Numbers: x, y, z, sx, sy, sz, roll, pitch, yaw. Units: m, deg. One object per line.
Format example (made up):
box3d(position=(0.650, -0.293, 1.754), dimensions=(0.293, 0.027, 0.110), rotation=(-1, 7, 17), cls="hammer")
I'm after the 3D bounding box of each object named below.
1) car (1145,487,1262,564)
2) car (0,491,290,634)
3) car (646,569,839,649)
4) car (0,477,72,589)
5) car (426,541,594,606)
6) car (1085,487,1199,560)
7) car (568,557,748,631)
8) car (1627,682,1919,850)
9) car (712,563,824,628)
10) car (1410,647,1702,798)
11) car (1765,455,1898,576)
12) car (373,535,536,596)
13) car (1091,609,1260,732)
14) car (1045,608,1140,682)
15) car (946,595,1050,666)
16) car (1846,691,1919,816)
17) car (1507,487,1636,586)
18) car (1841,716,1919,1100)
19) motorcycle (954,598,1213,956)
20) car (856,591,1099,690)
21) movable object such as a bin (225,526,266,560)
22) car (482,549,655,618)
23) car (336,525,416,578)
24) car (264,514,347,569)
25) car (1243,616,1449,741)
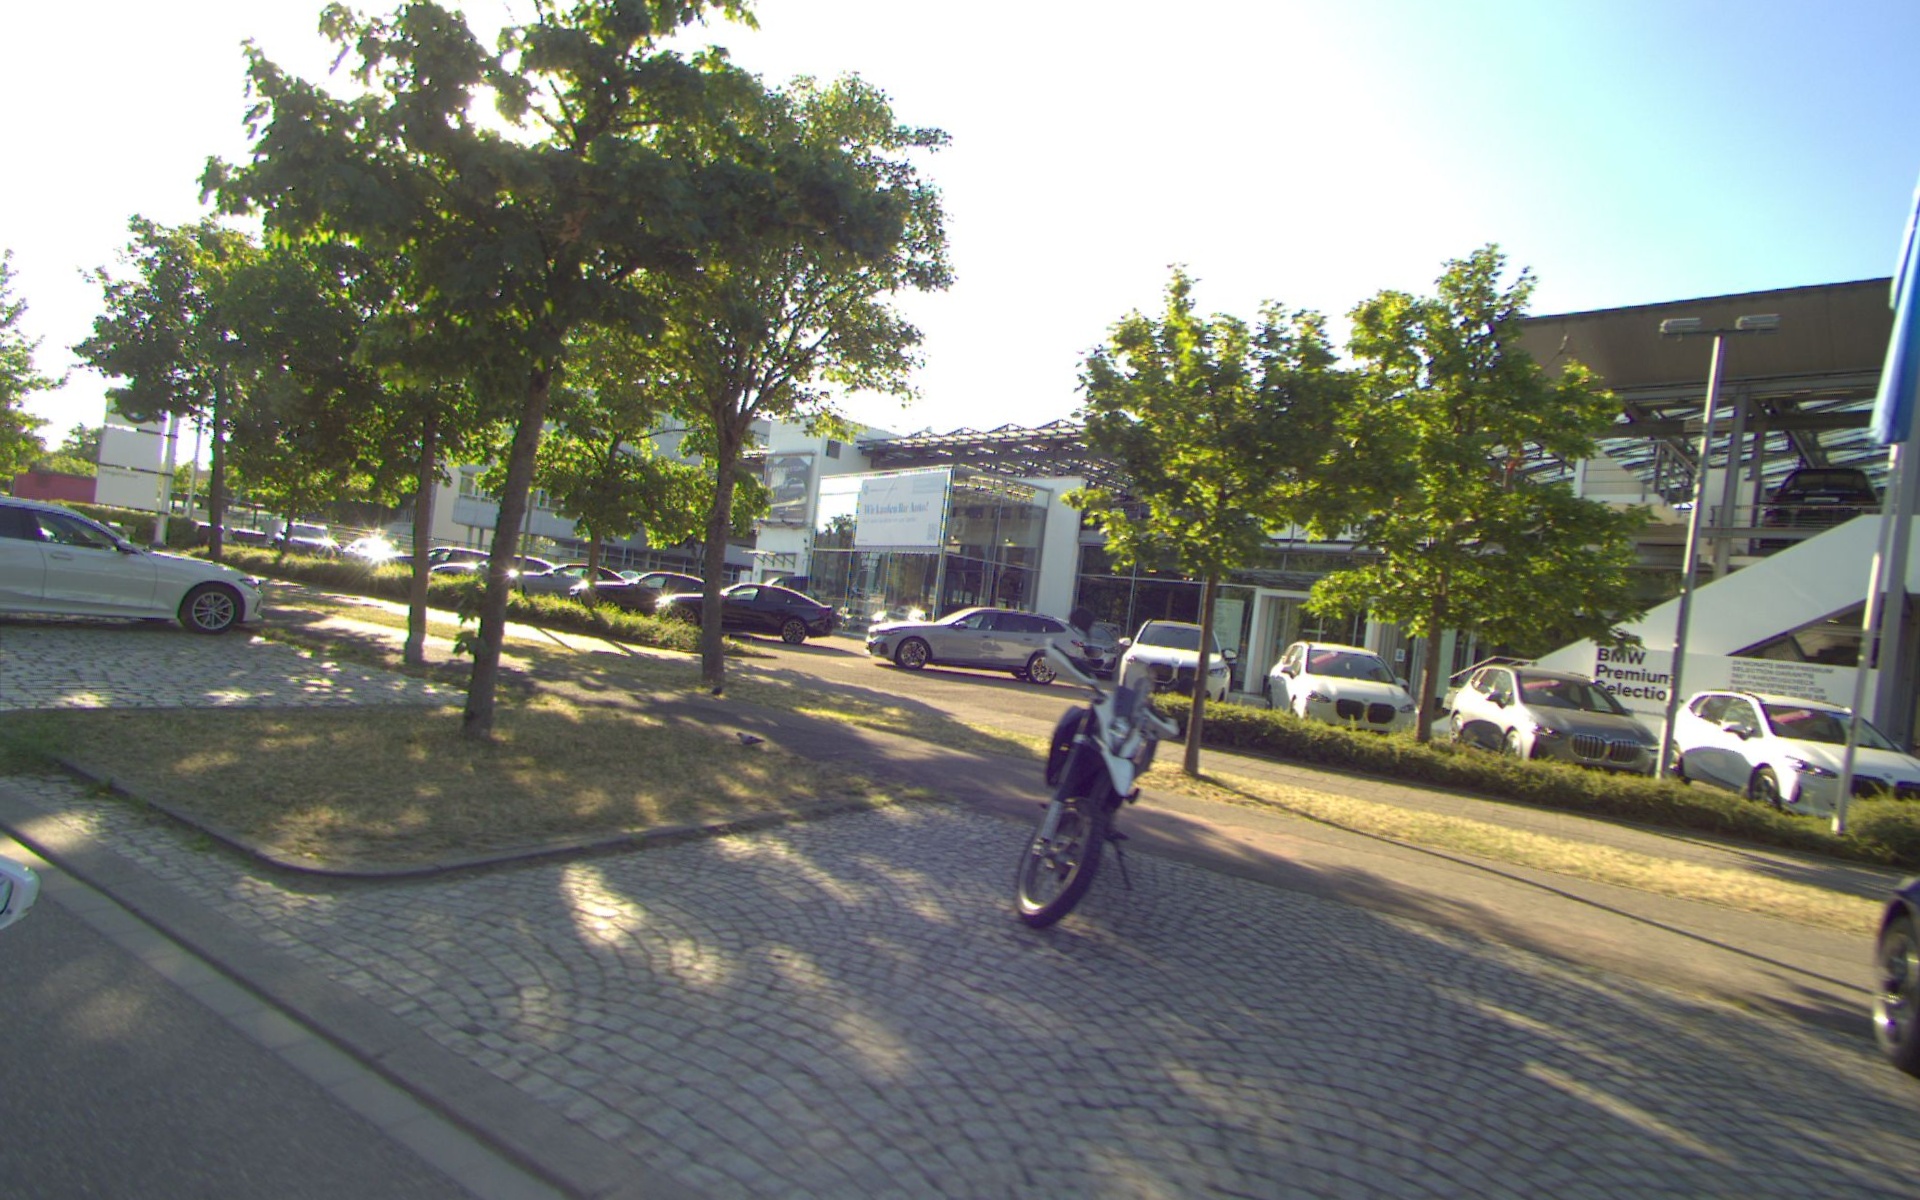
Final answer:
box3d(position=(8.029, -2.417, 33.000), dimensions=(1.764, 1.684, 3.982), rotation=(7, -3, 45), cls="car")
box3d(position=(-11.177, -0.513, 12.142), dimensions=(1.967, 1.498, 4.699), rotation=(7, 0, 31), cls="car")
box3d(position=(-5.722, 0.246, 26.754), dimensions=(4.712, 1.481, 1.995), rotation=(7, 0, -13), cls="car")
box3d(position=(-17.614, -1.385, 16.066), dimensions=(2.158, 1.772, 4.696), rotation=(7, -1, 36), cls="car")
box3d(position=(-14.688, -0.838, 33.154), dimensions=(4.718, 1.481, 2.039), rotation=(7, 0, -17), cls="car")
box3d(position=(6.335, -2.618, 34.784), dimensions=(1.764, 1.684, 3.982), rotation=(7, -3, 45), cls="car")
box3d(position=(-8.677, -0.158, 29.122), dimensions=(4.718, 1.481, 1.993), rotation=(7, 0, -17), cls="car")
box3d(position=(11.502, 2.175, 14.032), dimensions=(1.962, 1.593, 4.607), rotation=(7, 0, 12), cls="car")
box3d(position=(-7.829, -0.183, 40.896), dimensions=(4.120, 2.038, 1.993), rotation=(8, 0, -17), cls="car")
box3d(position=(8.906, 1.722, 15.620), dimensions=(1.962, 1.594, 4.605), rotation=(7, 0, 5), cls="car")
box3d(position=(18.570, -1.736, 21.373), dimensions=(1.764, 1.684, 3.982), rotation=(7, -3, 45), cls="car")
box3d(position=(-17.558, -1.187, 35.207), dimensions=(4.718, 1.482, 1.993), rotation=(7, 0, -17), cls="car")
box3d(position=(3.807, 1.165, 18.721), dimensions=(2.365, 1.712, 4.729), rotation=(7, 0, 5), cls="car")
box3d(position=(4.049, 1.335, 30.032), dimensions=(1.962, 1.795, 4.792), rotation=(7, -1, 16), cls="car")
box3d(position=(1.275, 0.970, 30.951), dimensions=(1.962, 1.795, 4.792), rotation=(7, -1, 16), cls="car")
box3d(position=(13.912, 2.229, 12.435), dimensions=(1.962, 1.594, 4.605), rotation=(7, 0, 5), cls="car")
box3d(position=(15.362, -1.551, 25.193), dimensions=(1.764, 1.684, 3.982), rotation=(7, -3, 45), cls="car")
box3d(position=(4.197, 1.285, 2.603), dimensions=(1.967, 1.474, 4.628), rotation=(7, 0, 31), cls="car")
box3d(position=(0.798, 0.827, 5.594), dimensions=(0.932, 1.484, 2.131), rotation=(7, 0, 16), cls="motorcycle")
box3d(position=(0.350, 0.909, 22.961), dimensions=(5.107, 1.590, 1.995), rotation=(7, 0, -13), cls="car")
box3d(position=(-31.069, -2.487, 43.750), dimensions=(1.023, 1.283, 1.117), rotation=(7, 0, 39), cls="movable object such as a bin")
box3d(position=(-11.990, -0.498, 31.148), dimensions=(4.718, 1.481, 1.993), rotation=(7, 0, -17), cls="car")
box3d(position=(-25.274, -2.101, 43.450), dimensions=(2.024, 1.850, 4.507), rotation=(7, -1, -42), cls="car")
box3d(position=(-27.161, -2.463, 41.667), dimensions=(2.024, 1.850, 4.918), rotation=(7, -1, -42), cls="car")
box3d(position=(6.367, 1.192, 17.232), dimensions=(1.962, 1.594, 4.605), rotation=(7, 0, 5), cls="car")
